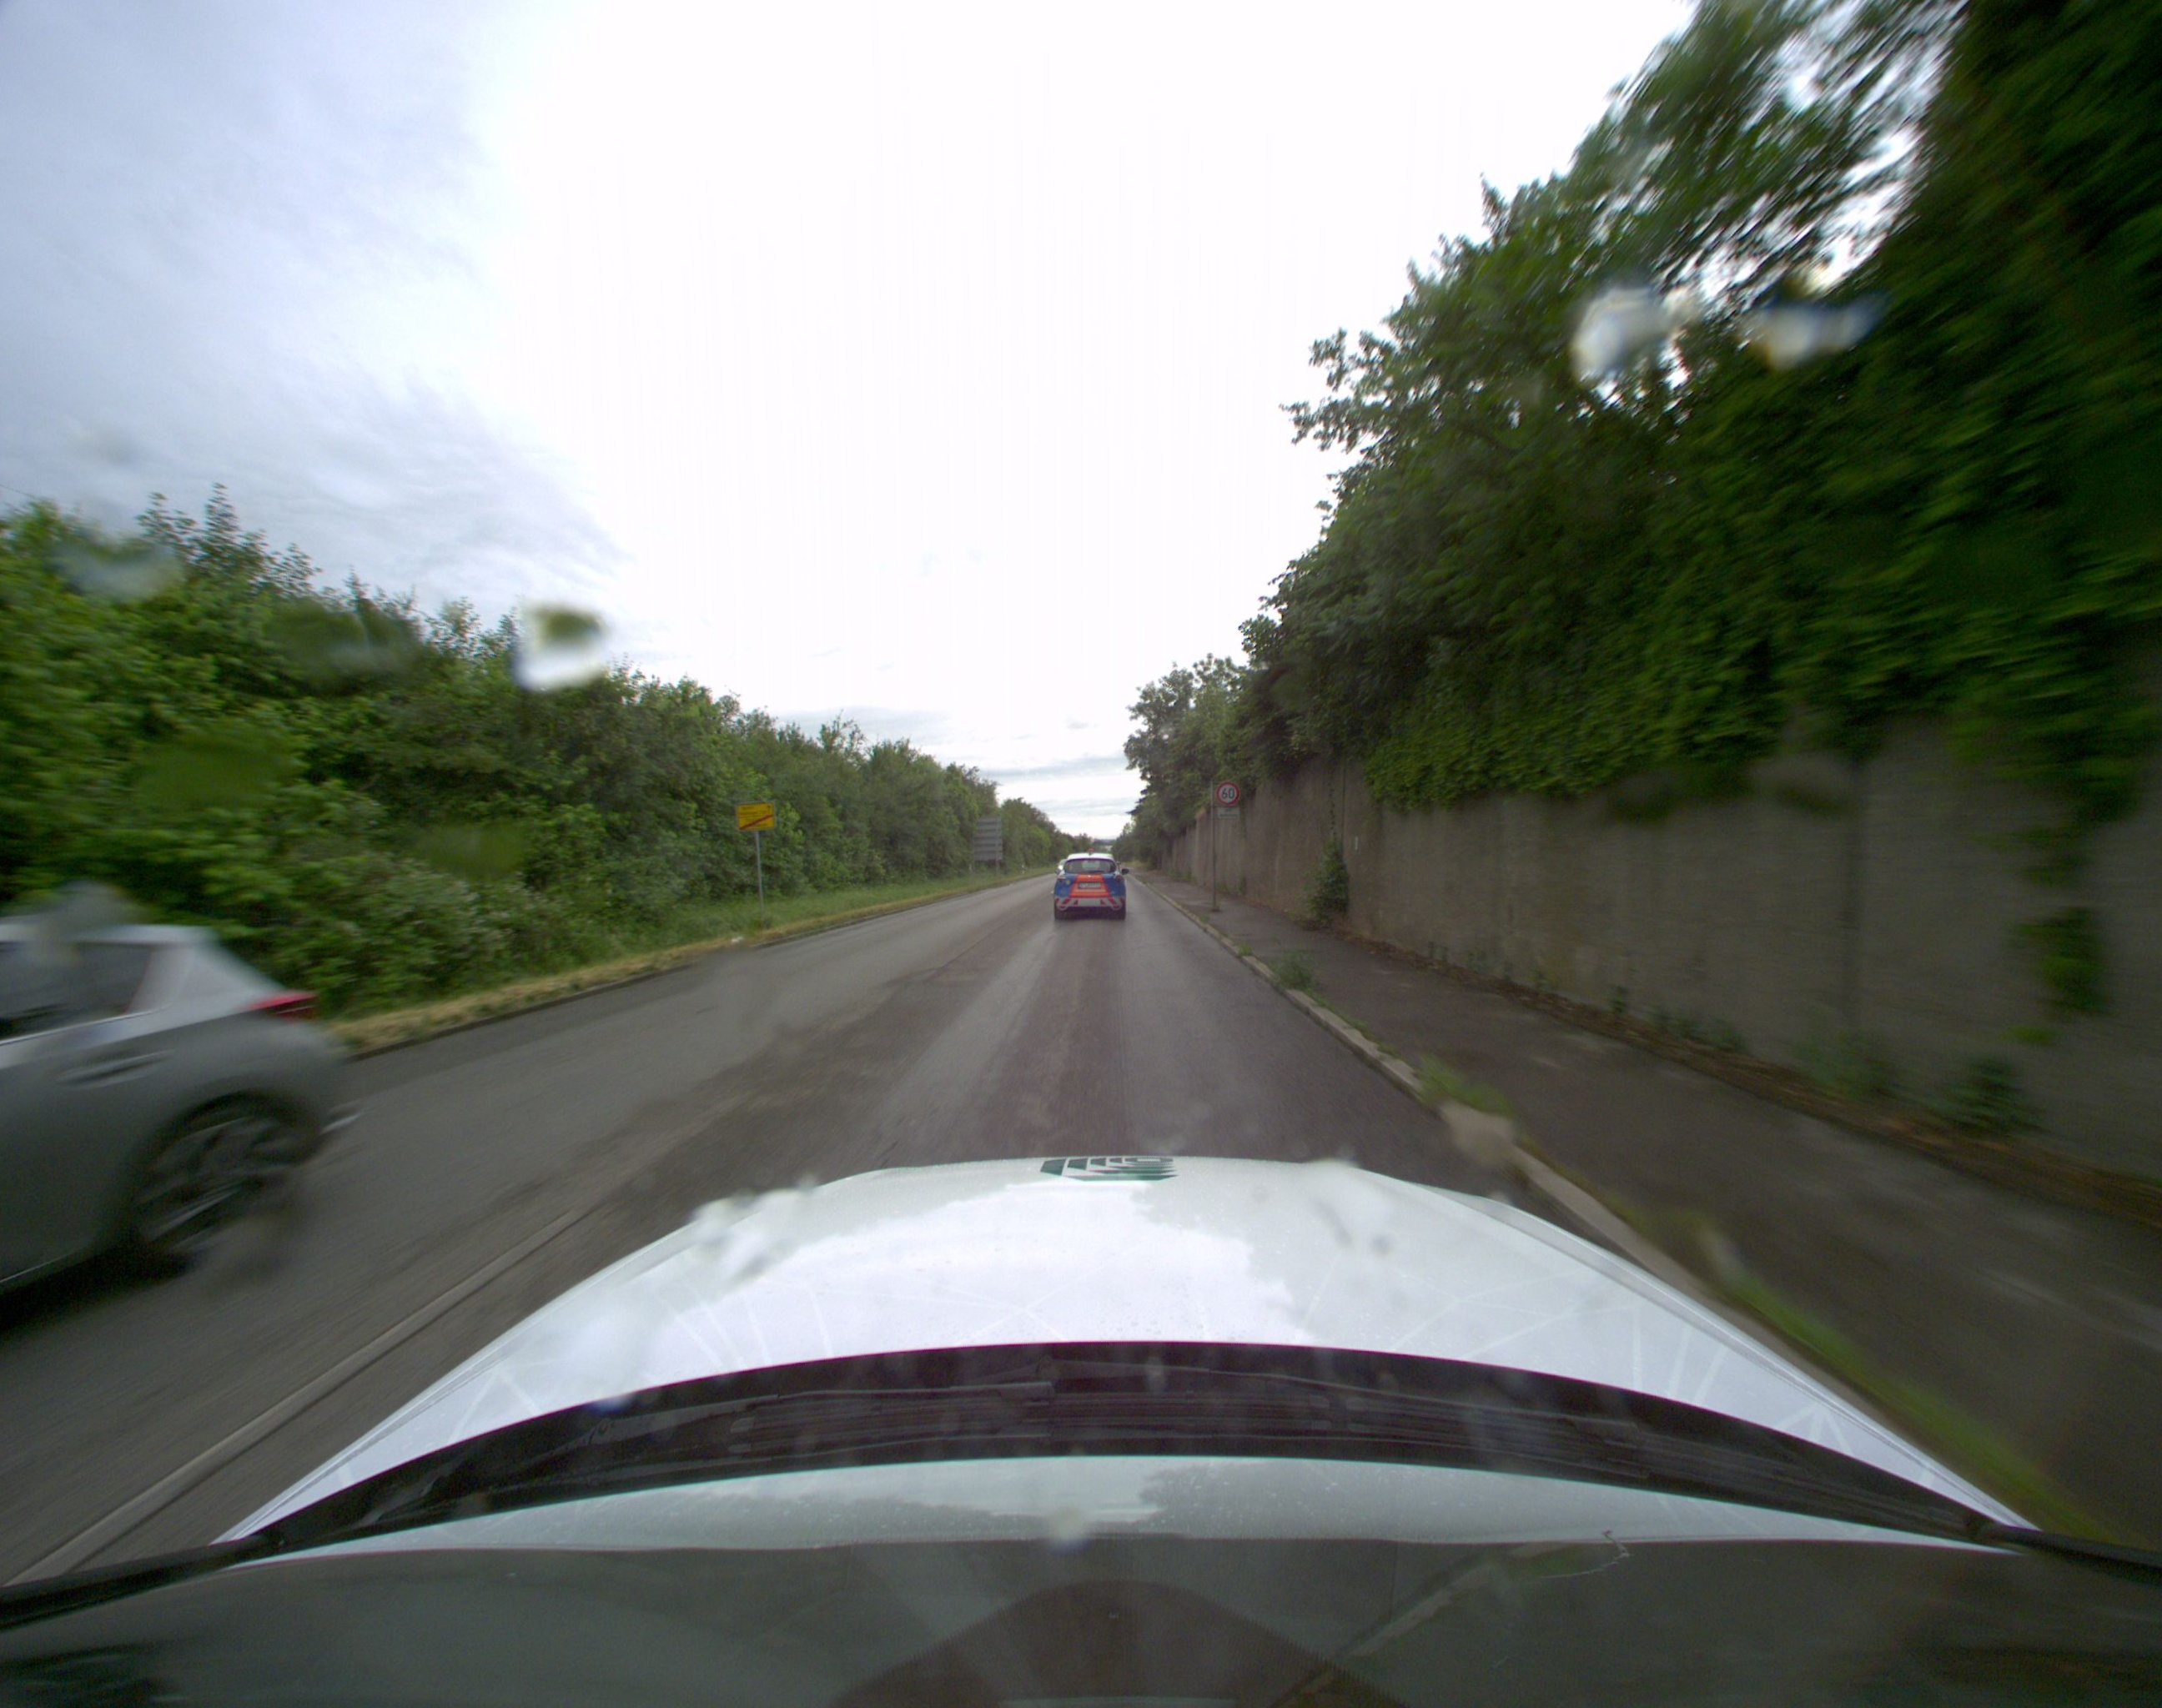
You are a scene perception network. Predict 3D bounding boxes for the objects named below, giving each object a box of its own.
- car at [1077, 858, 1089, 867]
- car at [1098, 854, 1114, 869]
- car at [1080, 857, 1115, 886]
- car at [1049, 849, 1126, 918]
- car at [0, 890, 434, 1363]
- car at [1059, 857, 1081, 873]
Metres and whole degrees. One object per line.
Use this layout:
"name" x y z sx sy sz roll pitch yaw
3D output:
"car" 0.375 1.474 141.927 1.884 1.354 4.382 -1 0 1
"car" 2.903 0.888 95.128 1.766 1.625 4.000 -3 0 1
"car" 0.843 0.853 40.541 1.592 1.287 3.478 -2 -1 3
"car" 0.218 0.674 20.484 1.745 1.555 3.794 -1 0 2
"car" -4.409 0.966 2.192 1.795 1.432 4.181 -3 0 2
"car" -1.037 1.031 79.747 1.818 1.420 4.322 -2 0 2
